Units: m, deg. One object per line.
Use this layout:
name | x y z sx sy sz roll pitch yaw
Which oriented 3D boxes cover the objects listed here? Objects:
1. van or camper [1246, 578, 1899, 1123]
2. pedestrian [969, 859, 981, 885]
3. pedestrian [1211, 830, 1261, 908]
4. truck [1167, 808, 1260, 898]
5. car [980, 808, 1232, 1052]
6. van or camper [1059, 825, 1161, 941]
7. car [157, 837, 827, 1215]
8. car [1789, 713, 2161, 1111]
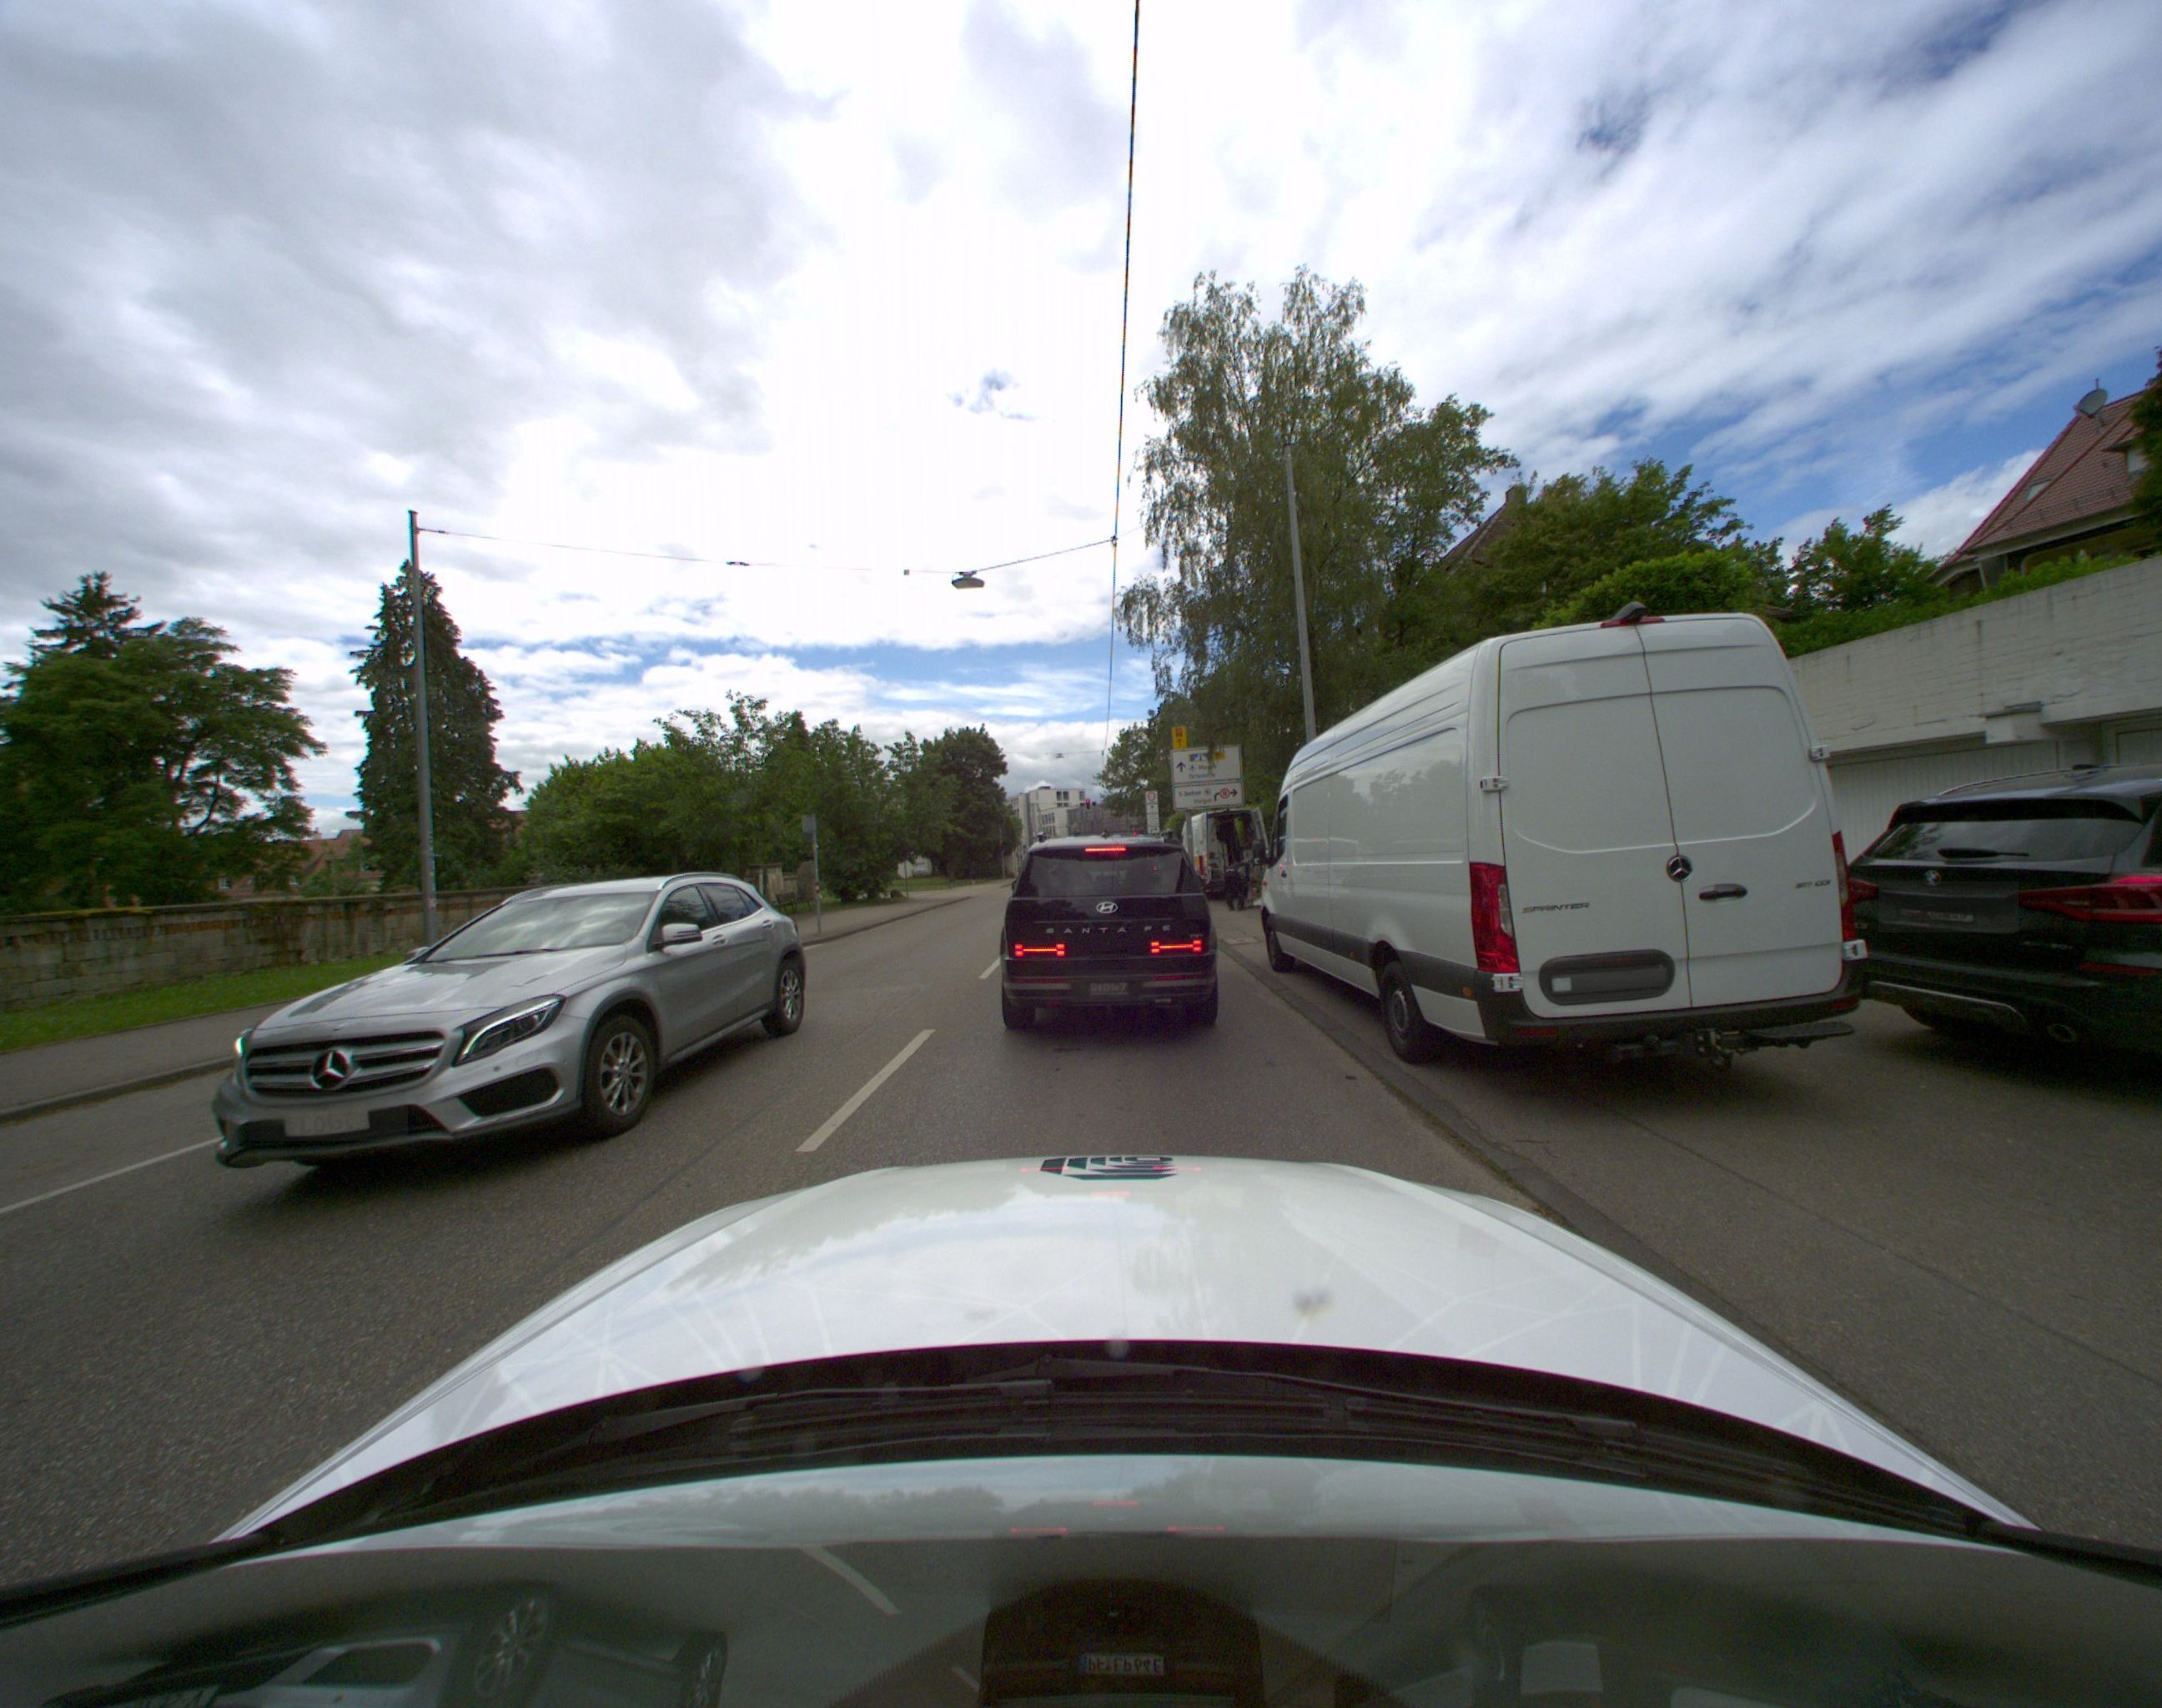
van or camper | 3.108 -0.011 7.341 1.986 2.620 6.543 -3 0 2
pedestrian | -7.359 1.259 56.677 0.737 1.715 0.791 -3 0 -5
pedestrian | 3.734 0.357 19.591 0.750 1.797 0.878 -3 -1 40
truck | 4.220 0.000 26.896 1.937 2.561 5.213 -5 -1 -1
car | 0.254 0.584 8.235 1.883 1.819 4.002 -2 0 2
van or camper | 0.591 0.535 16.754 1.748 2.013 4.002 -3 0 2
car | -3.489 0.836 5.998 1.779 1.653 4.120 -6 0 0
car | 6.836 0.144 4.370 4.398 1.750 1.739 -3 0 3
